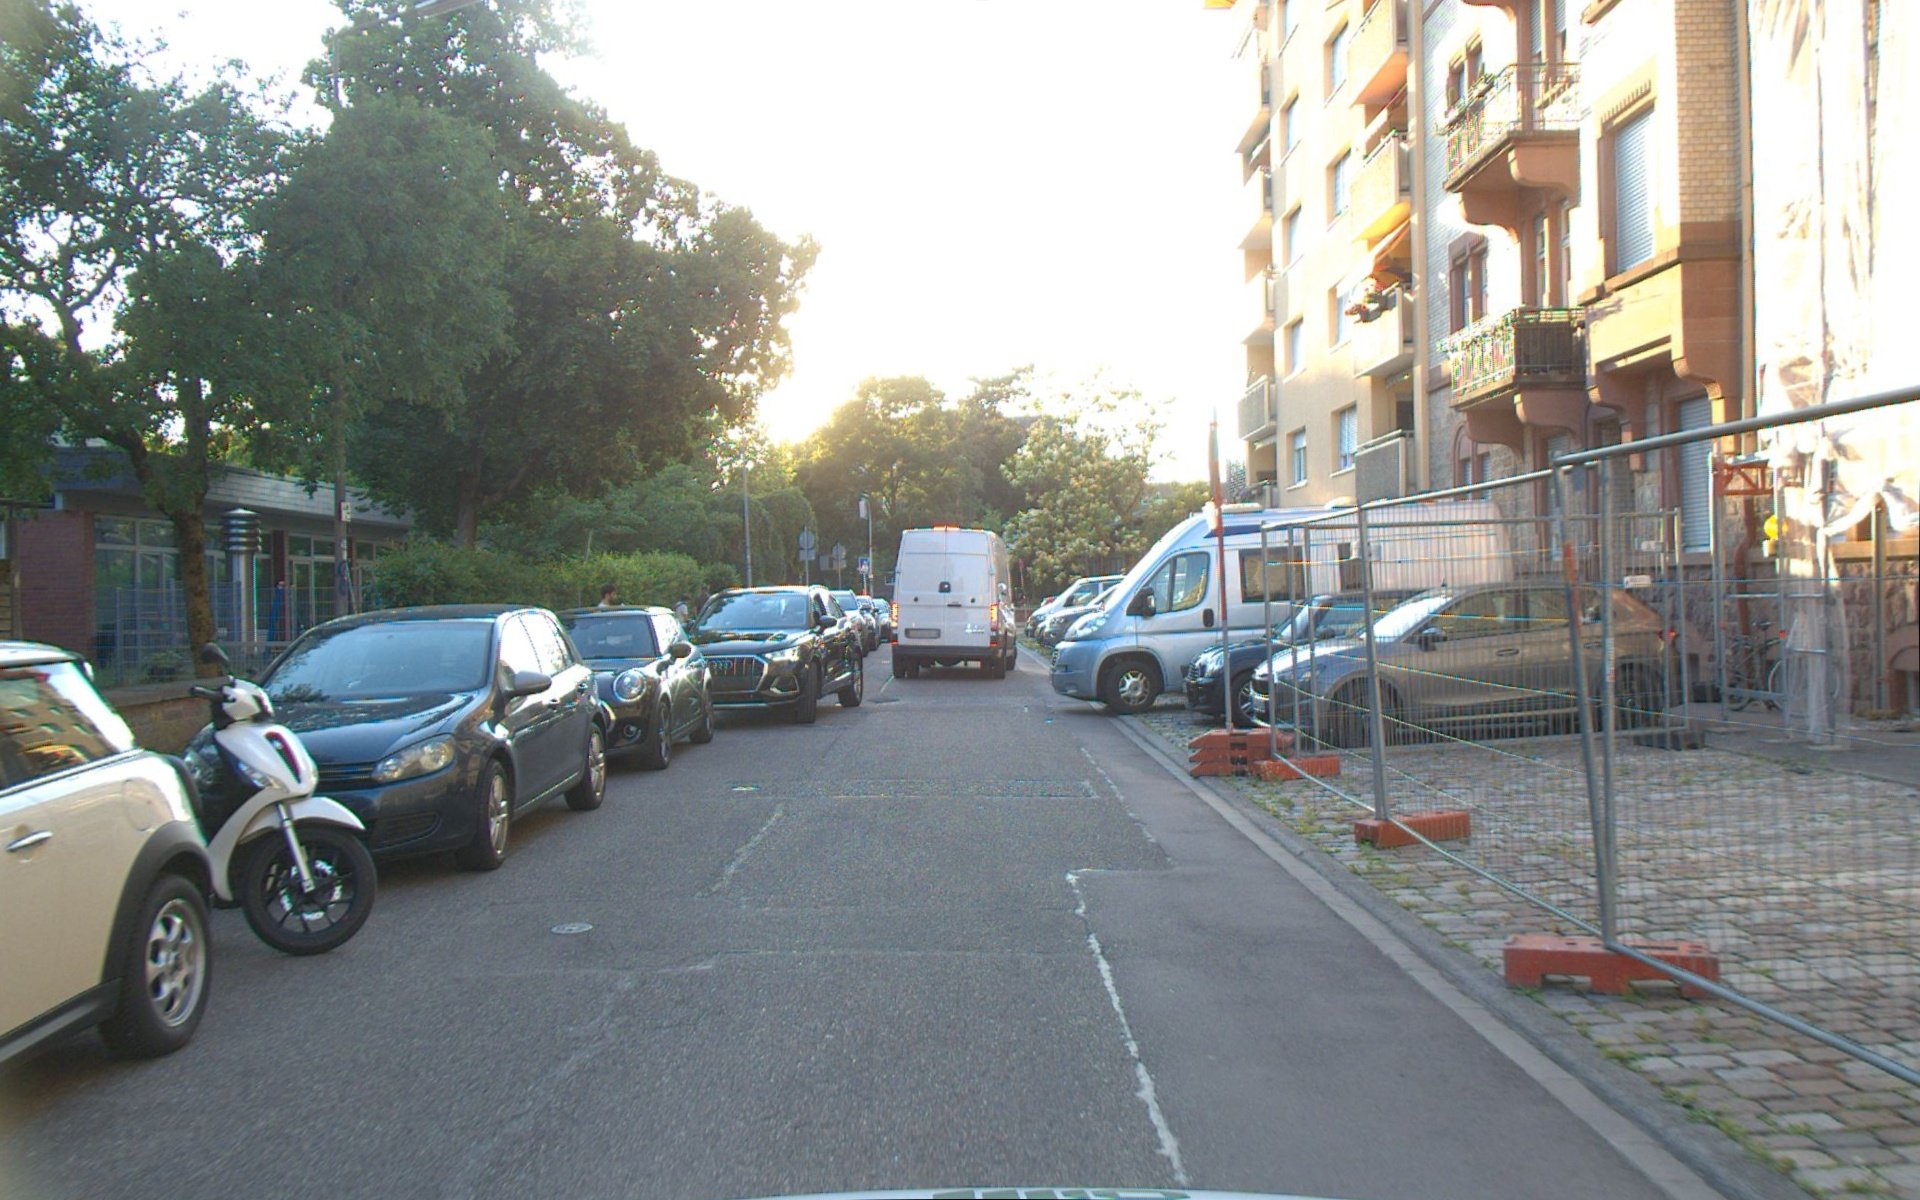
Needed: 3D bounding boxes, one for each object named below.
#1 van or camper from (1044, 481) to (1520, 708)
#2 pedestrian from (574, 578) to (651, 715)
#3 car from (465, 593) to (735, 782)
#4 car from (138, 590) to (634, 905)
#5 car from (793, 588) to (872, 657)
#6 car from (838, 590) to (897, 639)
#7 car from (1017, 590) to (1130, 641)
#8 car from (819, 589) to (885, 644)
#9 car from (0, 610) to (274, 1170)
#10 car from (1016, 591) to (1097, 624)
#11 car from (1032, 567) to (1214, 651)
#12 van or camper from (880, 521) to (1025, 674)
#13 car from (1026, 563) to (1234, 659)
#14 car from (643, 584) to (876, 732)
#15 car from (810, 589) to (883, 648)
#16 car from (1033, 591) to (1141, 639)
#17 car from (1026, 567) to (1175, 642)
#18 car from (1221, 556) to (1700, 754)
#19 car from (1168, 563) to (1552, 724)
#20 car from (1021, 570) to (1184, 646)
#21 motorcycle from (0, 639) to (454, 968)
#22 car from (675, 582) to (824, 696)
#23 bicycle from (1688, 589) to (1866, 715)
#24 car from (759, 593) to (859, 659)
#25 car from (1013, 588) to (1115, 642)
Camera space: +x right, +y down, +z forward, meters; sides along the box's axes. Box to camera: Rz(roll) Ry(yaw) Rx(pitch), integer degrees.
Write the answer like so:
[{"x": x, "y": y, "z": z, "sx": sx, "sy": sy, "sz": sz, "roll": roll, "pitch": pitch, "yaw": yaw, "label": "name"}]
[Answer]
[{"x": 4.070, "y": -0.074, "z": 21.638, "sx": 5.808, "sy": 2.818, "sz": 2.109, "roll": 0, "pitch": 0, "yaw": -1, "label": "van or camper"}, {"x": -4.822, "y": 0.635, "z": 22.992, "sx": 0.919, "sy": 1.862, "sz": 0.786, "roll": 0, "pitch": 0, "yaw": -2, "label": "pedestrian"}, {"x": -3.291, "y": 0.730, "z": 15.866, "sx": 1.603, "sy": 1.504, "sz": 3.993, "roll": -3, "pitch": 0, "yaw": 1, "label": "car"}, {"x": -3.346, "y": 0.745, "z": 10.595, "sx": 1.681, "sy": 1.522, "sz": 4.359, "roll": -3, "pitch": 0, "yaw": -1, "label": "car"}, {"x": -3.286, "y": 0.550, "z": 42.926, "sx": 1.954, "sy": 1.691, "sz": 3.997, "roll": 0, "pitch": 0, "yaw": -4, "label": "car"}, {"x": -3.228, "y": 0.484, "z": 58.166, "sx": 1.953, "sy": 1.646, "sz": 3.999, "roll": 0, "pitch": 0, "yaw": -2, "label": "car"}, {"x": 4.002, "y": 0.548, "z": 58.804, "sx": 3.905, "sy": 1.758, "sz": 2.000, "roll": 0, "pitch": 0, "yaw": 0, "label": "car"}, {"x": -3.383, "y": 0.498, "z": 52.446, "sx": 1.953, "sy": 1.646, "sz": 3.999, "roll": 0, "pitch": 0, "yaw": -2, "label": "car"}, {"x": -3.340, "y": 0.820, "z": 4.236, "sx": 1.569, "sy": 1.456, "sz": 3.802, "roll": -4, "pitch": 0, "yaw": -1, "label": "car"}, {"x": 4.882, "y": 0.369, "z": 84.121, "sx": 3.908, "sy": 1.646, "sz": 1.999, "roll": 0, "pitch": 0, "yaw": -4, "label": "car"}, {"x": 4.287, "y": 0.232, "z": 44.075, "sx": 4.611, "sy": 2.183, "sz": 1.999, "roll": 0, "pitch": 0, "yaw": -2, "label": "car"}, {"x": -0.007, "y": -0.047, "z": 31.384, "sx": 2.402, "sy": 2.591, "sz": 6.085, "roll": 1, "pitch": 0, "yaw": 3, "label": "van or camper"}, {"x": 3.914, "y": 0.248, "z": 38.632, "sx": 4.611, "sy": 2.183, "sz": 1.999, "roll": 0, "pitch": 0, "yaw": -2, "label": "car"}, {"x": -2.336, "y": 0.636, "z": 20.527, "sx": 1.766, "sy": 1.597, "sz": 4.569, "roll": -2, "pitch": 0, "yaw": 7, "label": "car"}, {"x": -3.266, "y": 0.510, "z": 48.134, "sx": 1.953, "sy": 1.646, "sz": 3.999, "roll": 0, "pitch": 0, "yaw": -2, "label": "car"}, {"x": 4.700, "y": 0.551, "z": 61.845, "sx": 3.905, "sy": 1.758, "sz": 2.000, "roll": 0, "pitch": 0, "yaw": 0, "label": "car"}, {"x": 4.268, "y": 0.134, "z": 50.862, "sx": 4.404, "sy": 2.269, "sz": 2.032, "roll": 0, "pitch": 0, "yaw": -1, "label": "car"}, {"x": 4.719, "y": 0.488, "z": 15.994, "sx": 3.910, "sy": 1.542, "sz": 2.018, "roll": -4, "pitch": 0, "yaw": -5, "label": "car"}, {"x": 4.412, "y": 0.491, "z": 18.703, "sx": 3.854, "sy": 1.512, "sz": 1.787, "roll": -3, "pitch": -1, "yaw": 1, "label": "car"}, {"x": 4.152, "y": 0.217, "z": 48.753, "sx": 4.611, "sy": 2.183, "sz": 1.999, "roll": 0, "pitch": 0, "yaw": -2, "label": "car"}, {"x": -3.480, "y": 0.855, "z": 7.502, "sx": 2.118, "sy": 1.326, "sz": 0.880, "roll": 0, "pitch": 0, "yaw": 14, "label": "motorcycle"}, {"x": -3.399, "y": 0.599, "z": 27.374, "sx": 1.746, "sy": 1.659, "sz": 4.001, "roll": -3, "pitch": 0, "yaw": 2, "label": "car"}, {"x": 8.162, "y": 0.484, "z": 16.634, "sx": 0.618, "sy": 1.189, "sz": 2.032, "roll": 0, "pitch": 0, "yaw": -6, "label": "bicycle"}, {"x": -3.376, "y": 0.550, "z": 37.704, "sx": 1.953, "sy": 1.422, "sz": 3.999, "roll": 0, "pitch": 0, "yaw": -1, "label": "car"}, {"x": 4.019, "y": 0.571, "z": 64.498, "sx": 3.904, "sy": 2.049, "sz": 2.000, "roll": 0, "pitch": 0, "yaw": 1, "label": "car"}]
